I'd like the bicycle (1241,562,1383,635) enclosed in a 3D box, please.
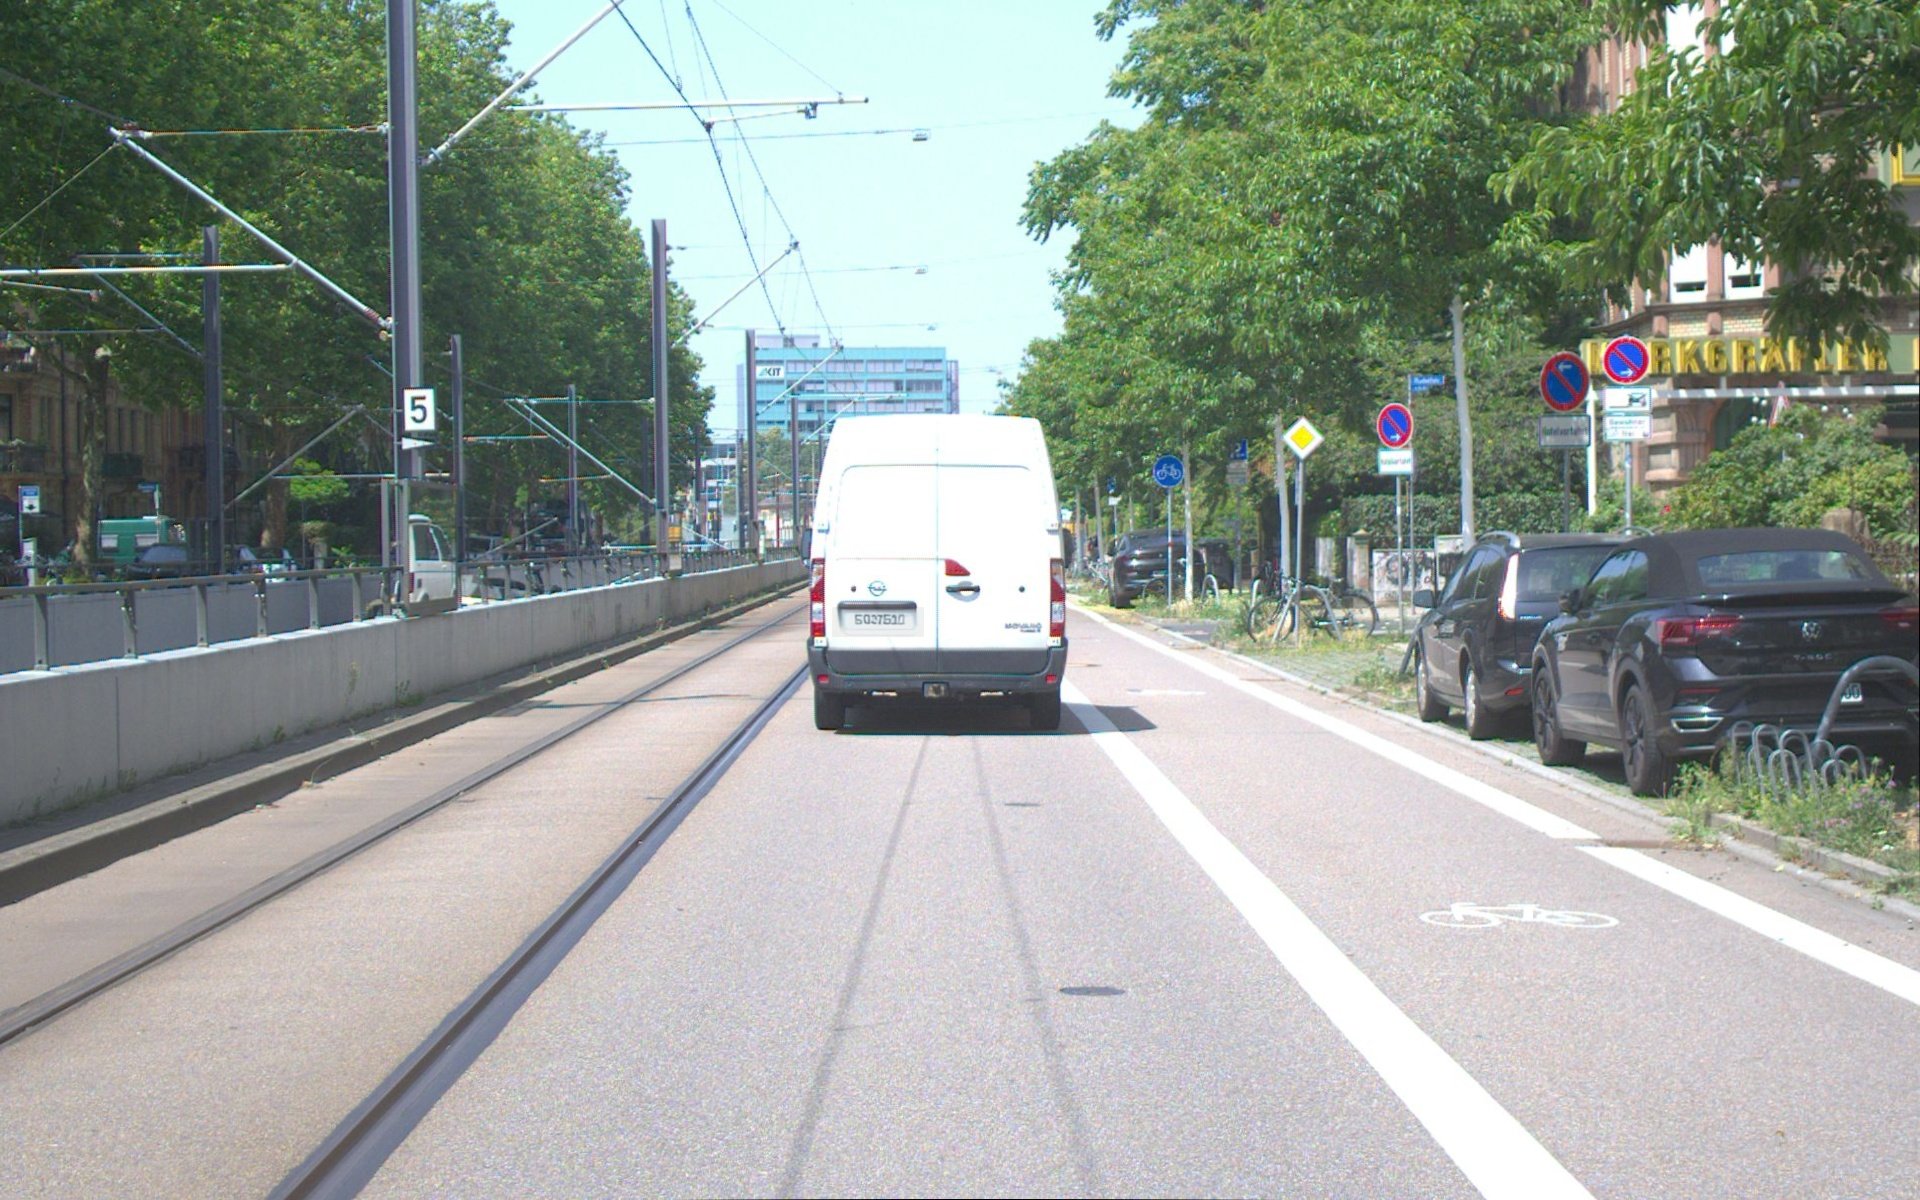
[{"bbox_3d":[4.708,-0.019,46.048,1.842,0.950,0.503,-1,1,1],"label":"bicycle"}]

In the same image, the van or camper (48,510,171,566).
[{"bbox_3d":[-30.772,-2.250,124.463,3.986,2.007,2.000,-1,1,-3],"label":"van or camper"}]

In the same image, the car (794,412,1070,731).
[{"bbox_3d":[-0.219,-0.270,29.018,2.117,2.450,5.054,0,1,0],"label":"car"}]

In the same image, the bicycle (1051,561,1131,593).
[{"bbox_3d":[3.693,-0.660,96.440,1.560,0.823,3.998,0,1,12],"label":"bicycle"}]

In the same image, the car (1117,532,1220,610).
[{"bbox_3d":[4.568,-0.670,75.911,2.157,1.664,4.000,0,1,2],"label":"car"}]

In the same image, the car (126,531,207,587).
[{"bbox_3d":[-20.614,-1.079,89.389,1.373,1.419,3.088,-1,1,0],"label":"car"}]

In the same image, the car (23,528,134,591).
[{"bbox_3d":[-20.842,-0.973,81.424,1.592,1.443,4.000,0,1,0],"label":"car"}]

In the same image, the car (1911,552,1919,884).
[{"bbox_3d":[4.863,0.532,12.605,1.611,1.401,4.000,-1,1,0],"label":"car"}]

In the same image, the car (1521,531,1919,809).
[{"bbox_3d":[4.639,0.352,21.218,1.667,1.525,4.013,-1,1,0],"label":"car"}]

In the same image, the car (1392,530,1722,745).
[{"bbox_3d":[4.538,0.224,26.744,1.729,1.530,4.405,0,1,-1],"label":"car"}]

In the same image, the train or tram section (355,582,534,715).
[{"bbox_3d":[-10.779,0.934,72.598,2.729,2.500,8.518,0,1,-2],"label":"train or tram section"}]
